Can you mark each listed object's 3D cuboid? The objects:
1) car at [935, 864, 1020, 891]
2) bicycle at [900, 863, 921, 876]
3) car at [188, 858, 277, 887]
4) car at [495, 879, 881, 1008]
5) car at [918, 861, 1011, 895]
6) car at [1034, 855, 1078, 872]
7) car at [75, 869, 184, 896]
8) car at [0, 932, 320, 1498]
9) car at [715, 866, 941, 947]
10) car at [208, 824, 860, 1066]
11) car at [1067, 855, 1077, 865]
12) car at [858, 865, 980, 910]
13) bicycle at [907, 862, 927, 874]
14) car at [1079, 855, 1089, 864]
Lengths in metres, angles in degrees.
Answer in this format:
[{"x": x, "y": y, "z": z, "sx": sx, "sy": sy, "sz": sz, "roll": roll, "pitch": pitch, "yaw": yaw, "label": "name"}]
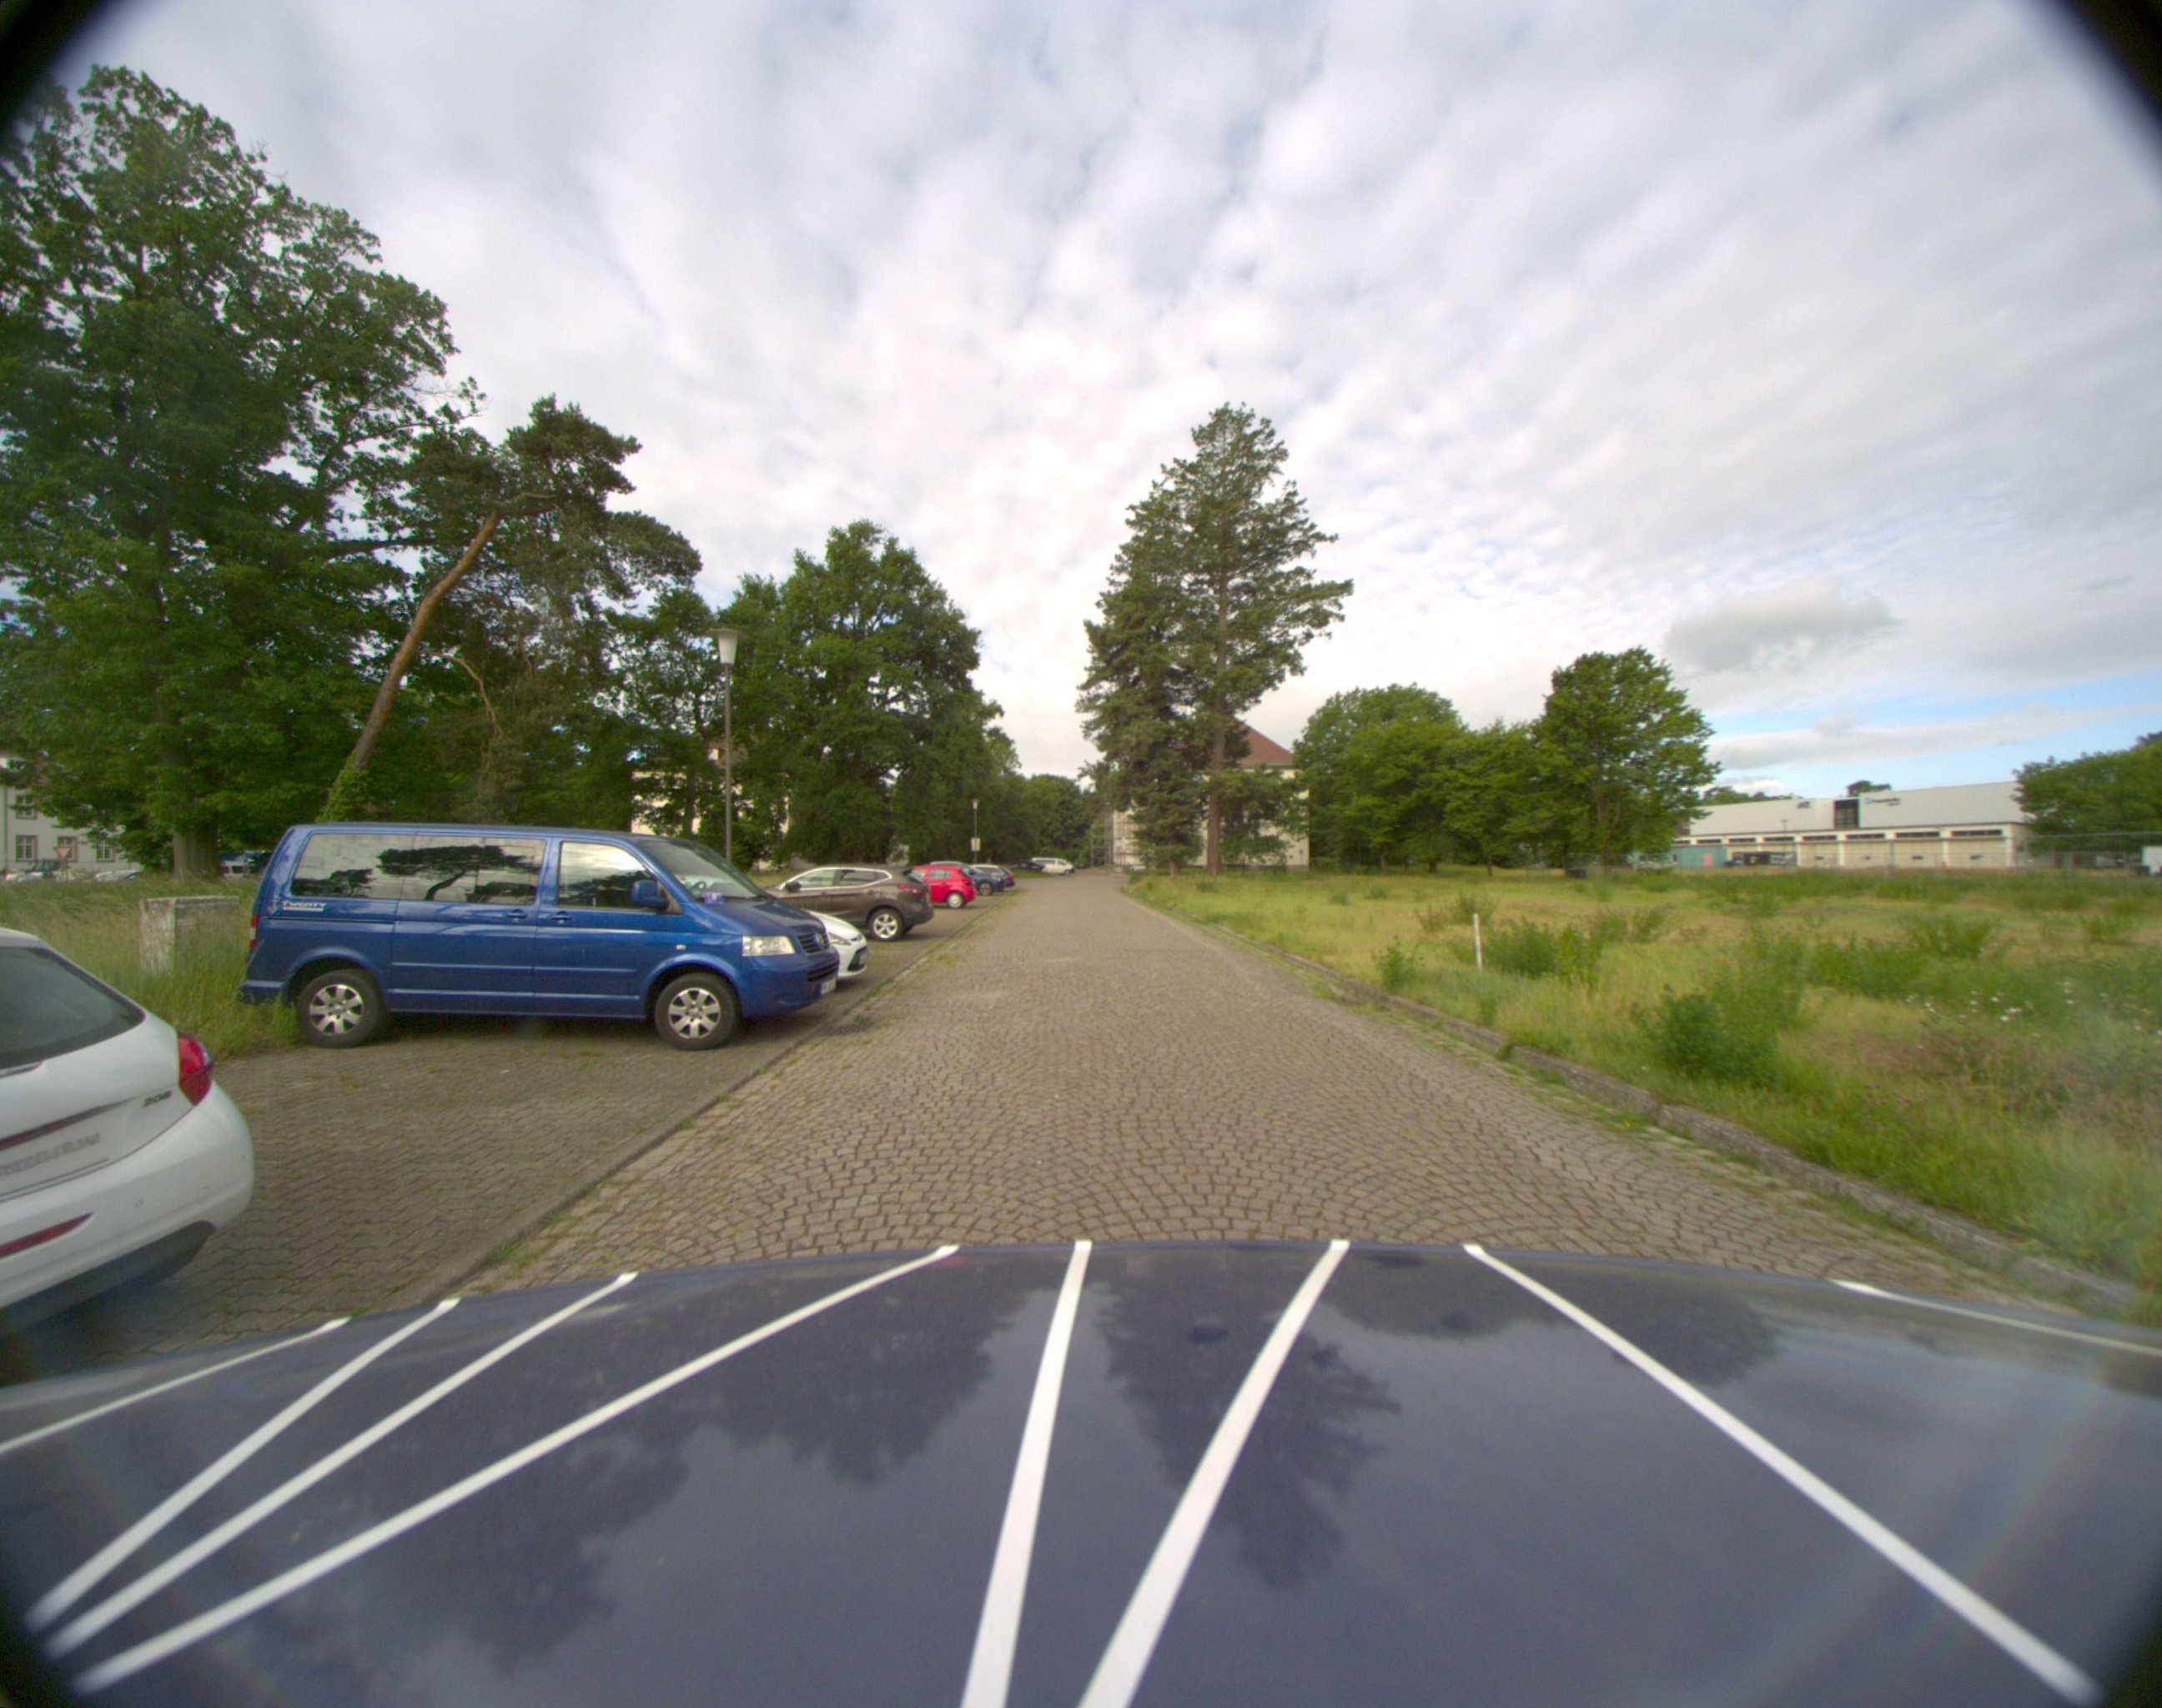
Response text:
[{"x": -5.603, "y": 1.256, "z": 41.603, "sx": 4.368, "sy": 1.430, "sz": 1.927, "roll": 0, "pitch": 0, "yaw": 0, "label": "car"}, {"x": -16.193, "y": 1.433, "z": 72.088, "sx": 1.862, "sy": 1.163, "sz": 0.487, "roll": -1, "pitch": 0, "yaw": -30, "label": "bicycle"}, {"x": -69.842, "y": 1.512, "z": 62.671, "sx": 1.923, "sy": 2.290, "sz": 4.939, "roll": 0, "pitch": 0, "yaw": -1, "label": "car"}, {"x": -4.864, "y": 1.094, "z": 9.908, "sx": 4.110, "sy": 1.470, "sz": 1.721, "roll": 0, "pitch": 0, "yaw": -4, "label": "car"}, {"x": -5.591, "y": 1.151, "z": 36.861, "sx": 4.257, "sy": 1.613, "sz": 1.886, "roll": 0, "pitch": 0, "yaw": -3, "label": "car"}, {"x": -3.001, "y": 1.135, "z": 90.493, "sx": 5.150, "sy": 2.002, "sz": 2.000, "roll": 0, "pitch": 0, "yaw": -2, "label": "car"}, {"x": -59.798, "y": 1.760, "z": 47.865, "sx": 1.653, "sy": 1.543, "sz": 4.079, "roll": -2, "pitch": 0, "yaw": 0, "label": "car"}, {"x": -4.809, "y": 1.028, "z": 2.054, "sx": 3.663, "sy": 1.470, "sz": 1.765, "roll": 0, "pitch": 0, "yaw": -2, "label": "car"}, {"x": -5.239, "y": 1.073, "z": 16.256, "sx": 4.215, "sy": 1.585, "sz": 1.952, "roll": 0, "pitch": 0, "yaw": -4, "label": "car"}, {"x": -4.819, "y": 0.771, "z": 7.362, "sx": 4.809, "sy": 1.992, "sz": 1.966, "roll": 0, "pitch": 0, "yaw": -3, "label": "car"}, {"x": -1.920, "y": 1.145, "z": 156.715, "sx": 1.963, "sy": 2.002, "sz": 4.259, "roll": 0, "pitch": 0, "yaw": -3, "label": "car"}, {"x": -5.571, "y": 1.155, "z": 26.555, "sx": 3.934, "sy": 1.487, "sz": 1.784, "roll": 0, "pitch": 0, "yaw": -3, "label": "car"}, {"x": -16.068, "y": 1.383, "z": 74.614, "sx": 1.860, "sy": 1.163, "sz": 0.488, "roll": 1, "pitch": 0, "yaw": -11, "label": "bicycle"}, {"x": 0.609, "y": 1.124, "z": 157.029, "sx": 1.963, "sy": 2.002, "sz": 4.259, "roll": 0, "pitch": 0, "yaw": -3, "label": "car"}]
